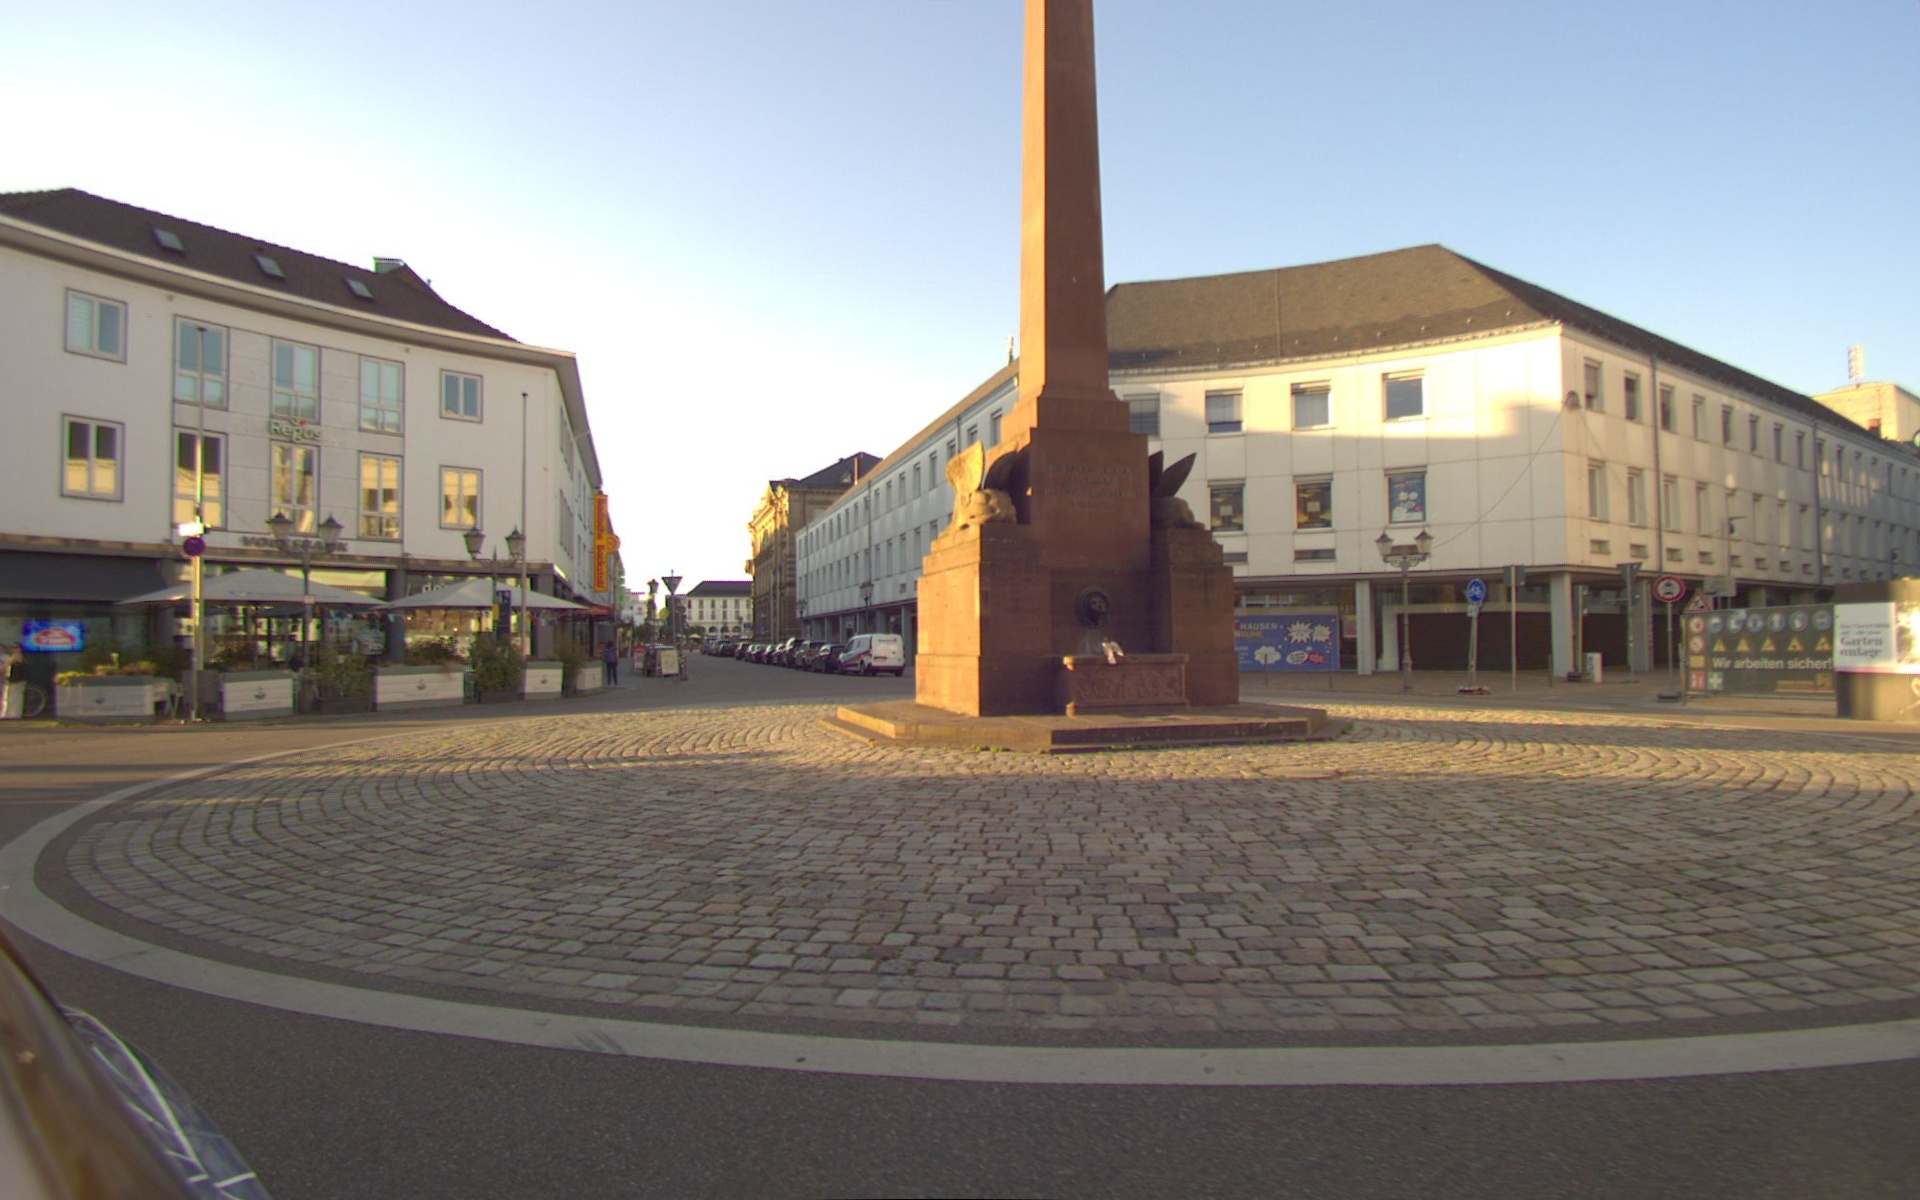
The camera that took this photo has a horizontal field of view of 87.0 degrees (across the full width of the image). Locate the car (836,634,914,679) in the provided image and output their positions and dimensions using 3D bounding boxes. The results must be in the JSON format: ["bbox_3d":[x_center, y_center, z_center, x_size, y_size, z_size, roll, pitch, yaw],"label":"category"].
[{"bbox_3d":[-3.753,2.437,44.034,1.987,1.839,4.474,0,-3,-24],"label":"car"}]

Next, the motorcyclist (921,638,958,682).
[{"bbox_3d":[-0.647,1.883,32.084,0.792,1.354,0.862,1,-3,-37],"label":"motorcyclist"}]

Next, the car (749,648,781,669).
[{"bbox_3d":[-14.513,4.336,75.195,1.751,1.503,4.342,0,-2,-19],"label":"car"}]

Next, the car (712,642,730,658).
[{"bbox_3d":[-27.685,5.781,117.256,1.752,1.680,4.341,0,-2,-17],"label":"car"}]

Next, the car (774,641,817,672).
[{"bbox_3d":[-9.682,3.300,59.310,1.751,1.741,4.342,0,-2,-19],"label":"car"}]

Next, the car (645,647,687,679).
[{"bbox_3d":[-14.165,2.996,48.662,1.752,1.435,3.973,0,-2,-18],"label":"car"}]

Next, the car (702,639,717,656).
[{"bbox_3d":[-33.431,6.313,135.011,1.752,2.244,4.341,0,-2,-17],"label":"car"}]

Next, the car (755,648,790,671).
[{"bbox_3d":[-12.935,4.063,69.690,1.751,1.503,4.342,0,-2,-19],"label":"car"}]

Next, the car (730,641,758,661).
[{"bbox_3d":[-18.757,4.424,87.767,1.751,1.680,4.342,0,-2,-19],"label":"car"}]

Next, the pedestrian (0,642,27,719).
[{"bbox_3d":[-21.393,1.787,22.533,0.609,1.689,0.736,0,-3,-16],"label":"pedestrian"}]

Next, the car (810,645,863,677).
[{"bbox_3d":[-6.018,2.915,49.004,1.751,1.435,3.973,0,-2,-19],"label":"car"}]

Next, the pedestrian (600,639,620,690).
[{"bbox_3d":[-12.203,2.239,35.288,0.593,1.713,0.716,0,-3,-23],"label":"pedestrian"}]

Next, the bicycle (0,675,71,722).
[{"bbox_3d":[-20.492,2.137,22.040,0.470,0.941,1.666,-2,-3,19],"label":"bicycle"}]

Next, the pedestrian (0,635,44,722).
[{"bbox_3d":[-20.355,1.678,21.891,0.500,1.832,0.721,0,-3,-16],"label":"pedestrian"}]

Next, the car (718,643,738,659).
[{"bbox_3d":[-25.577,5.576,111.502,1.752,1.680,4.341,0,-2,-17],"label":"car"}]

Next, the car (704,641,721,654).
[{"bbox_3d":[-31.620,6.087,129.289,1.752,1.680,4.341,0,-2,-17],"label":"car"}]

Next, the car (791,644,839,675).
[{"bbox_3d":[-7.704,3.120,53.478,1.751,1.527,3.973,0,-2,-19],"label":"car"}]

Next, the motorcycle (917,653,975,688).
[{"bbox_3d":[-0.464,2.193,31.870,0.792,1.054,2.037,1,-3,-37],"label":"motorcycle"}]
